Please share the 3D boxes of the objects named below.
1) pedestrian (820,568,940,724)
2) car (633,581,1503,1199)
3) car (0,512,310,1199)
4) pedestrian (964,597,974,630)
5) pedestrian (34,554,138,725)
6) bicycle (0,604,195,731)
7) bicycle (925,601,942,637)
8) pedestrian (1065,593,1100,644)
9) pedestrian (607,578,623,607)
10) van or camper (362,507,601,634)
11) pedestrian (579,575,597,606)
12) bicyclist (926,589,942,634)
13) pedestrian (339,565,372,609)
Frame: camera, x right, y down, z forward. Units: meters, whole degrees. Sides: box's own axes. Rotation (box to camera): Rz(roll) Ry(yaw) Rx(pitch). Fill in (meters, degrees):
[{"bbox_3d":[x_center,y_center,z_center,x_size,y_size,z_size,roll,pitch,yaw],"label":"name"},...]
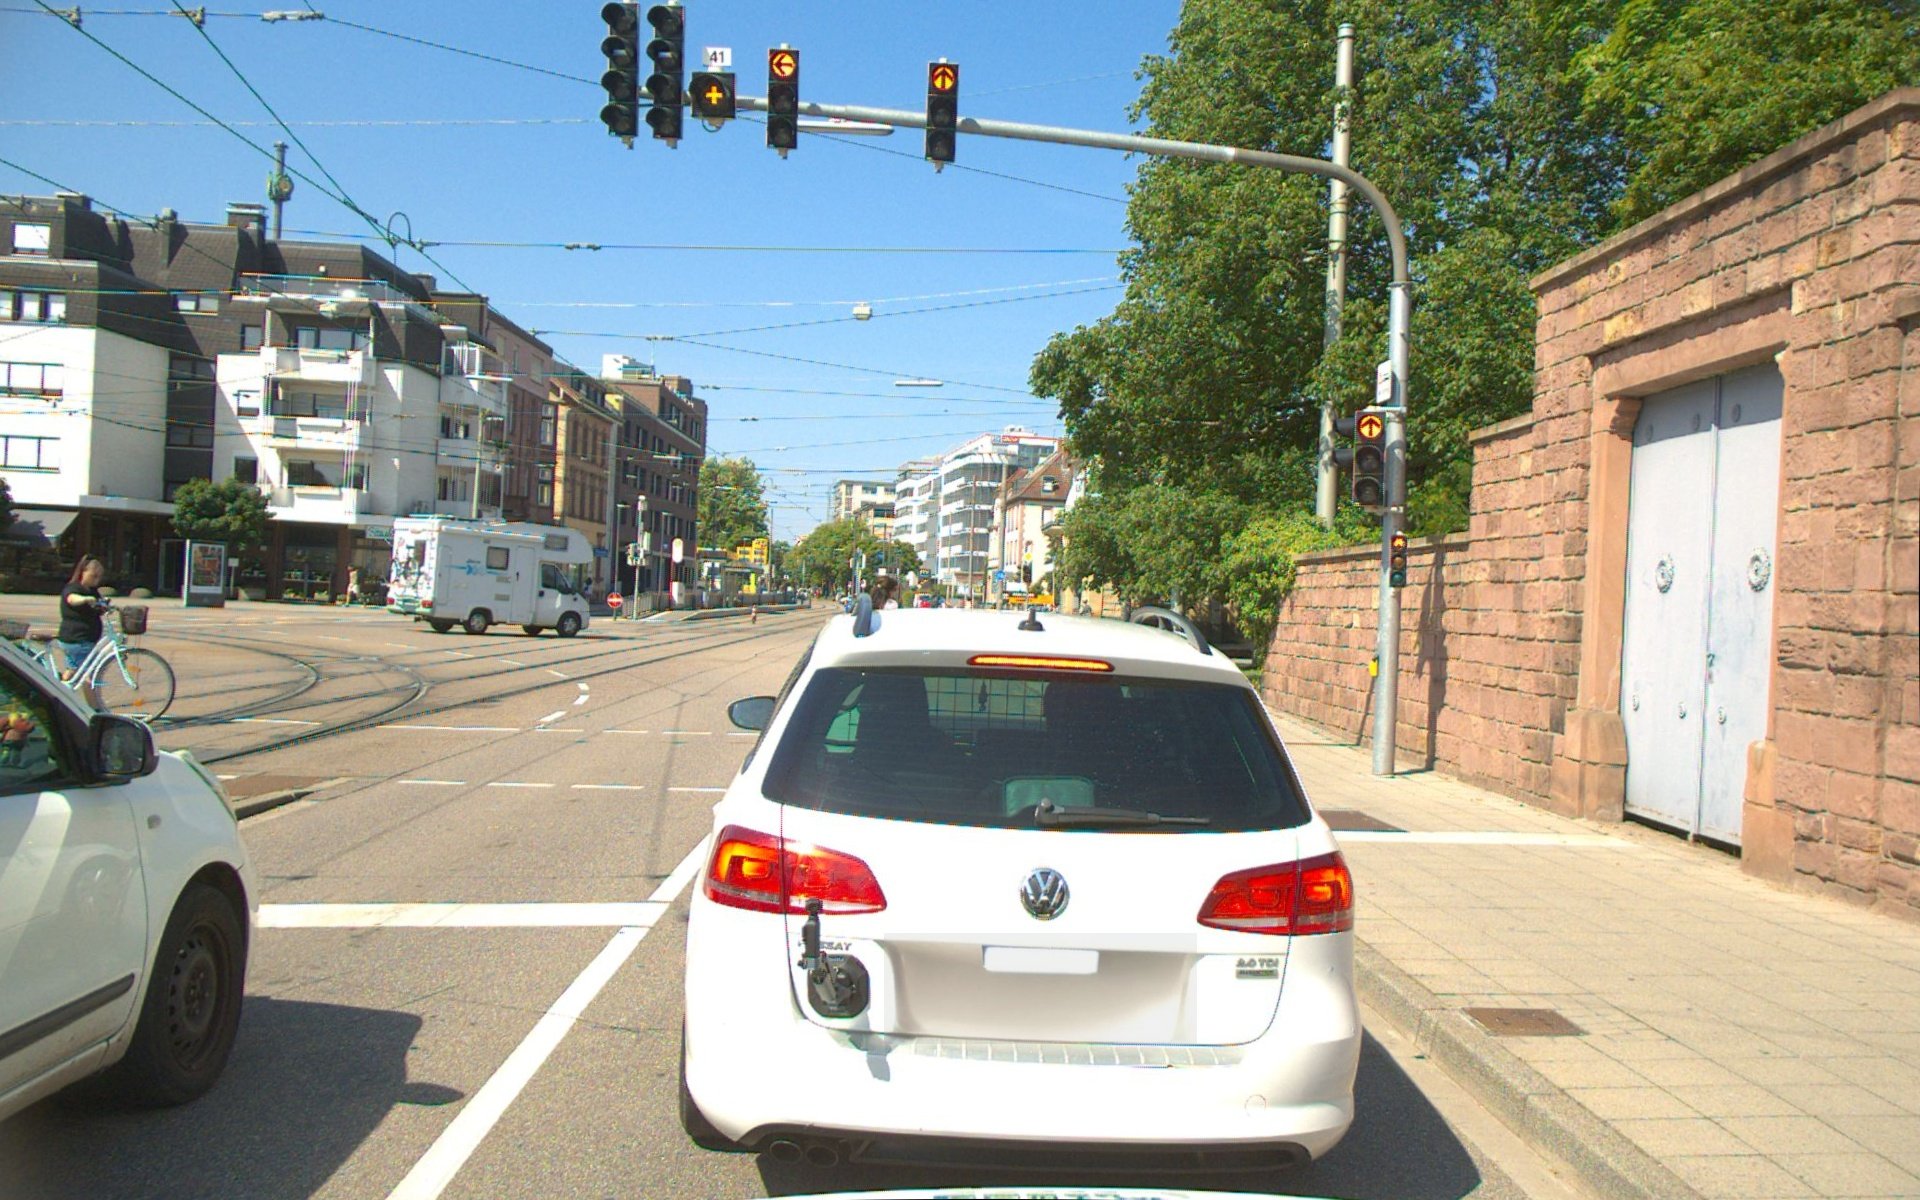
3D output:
[{"bbox_3d":[-0.891,0.508,18.507,0.939,1.680,0.969,-1,-1,42],"label":"pedestrian"},{"bbox_3d":[0.192,0.719,5.432,1.771,1.473,3.999,2,0,-1],"label":"car"},{"bbox_3d":[-2.838,0.605,3.326,1.608,1.593,3.803,1,1,-1],"label":"car"},{"bbox_3d":[0.650,0.969,118.822,0.675,2.366,1.232,0,-1,0],"label":"pedestrian"},{"bbox_3d":[-8.372,0.371,15.865,0.733,1.599,0.672,1,0,-16],"label":"pedestrian"},{"bbox_3d":[-8.261,0.619,15.341,1.986,1.109,0.707,2,0,-16],"label":"bicycle"},{"bbox_3d":[-0.980,0.712,61.539,0.546,1.320,2.250,0,-1,2],"label":"bicycle"},{"bbox_3d":[4.306,0.651,58.131,0.851,1.773,0.967,1,-1,-25],"label":"pedestrian"},{"bbox_3d":[-21.322,-0.442,102.148,0.845,1.773,0.973,1,-1,-6],"label":"pedestrian"},{"bbox_3d":[-12.702,-0.688,44.228,2.530,3.147,5.665,-1,-1,43],"label":"van or camper"},{"bbox_3d":[-21.664,-0.529,96.333,0.845,1.773,0.973,1,-1,-6],"label":"pedestrian"},{"bbox_3d":[-0.978,0.425,61.596,0.549,1.641,0.638,0,-1,2],"label":"bicyclist"},{"bbox_3d":[-24.706,-0.526,67.574,0.849,1.773,0.969,-1,-1,41],"label":"pedestrian"}]
